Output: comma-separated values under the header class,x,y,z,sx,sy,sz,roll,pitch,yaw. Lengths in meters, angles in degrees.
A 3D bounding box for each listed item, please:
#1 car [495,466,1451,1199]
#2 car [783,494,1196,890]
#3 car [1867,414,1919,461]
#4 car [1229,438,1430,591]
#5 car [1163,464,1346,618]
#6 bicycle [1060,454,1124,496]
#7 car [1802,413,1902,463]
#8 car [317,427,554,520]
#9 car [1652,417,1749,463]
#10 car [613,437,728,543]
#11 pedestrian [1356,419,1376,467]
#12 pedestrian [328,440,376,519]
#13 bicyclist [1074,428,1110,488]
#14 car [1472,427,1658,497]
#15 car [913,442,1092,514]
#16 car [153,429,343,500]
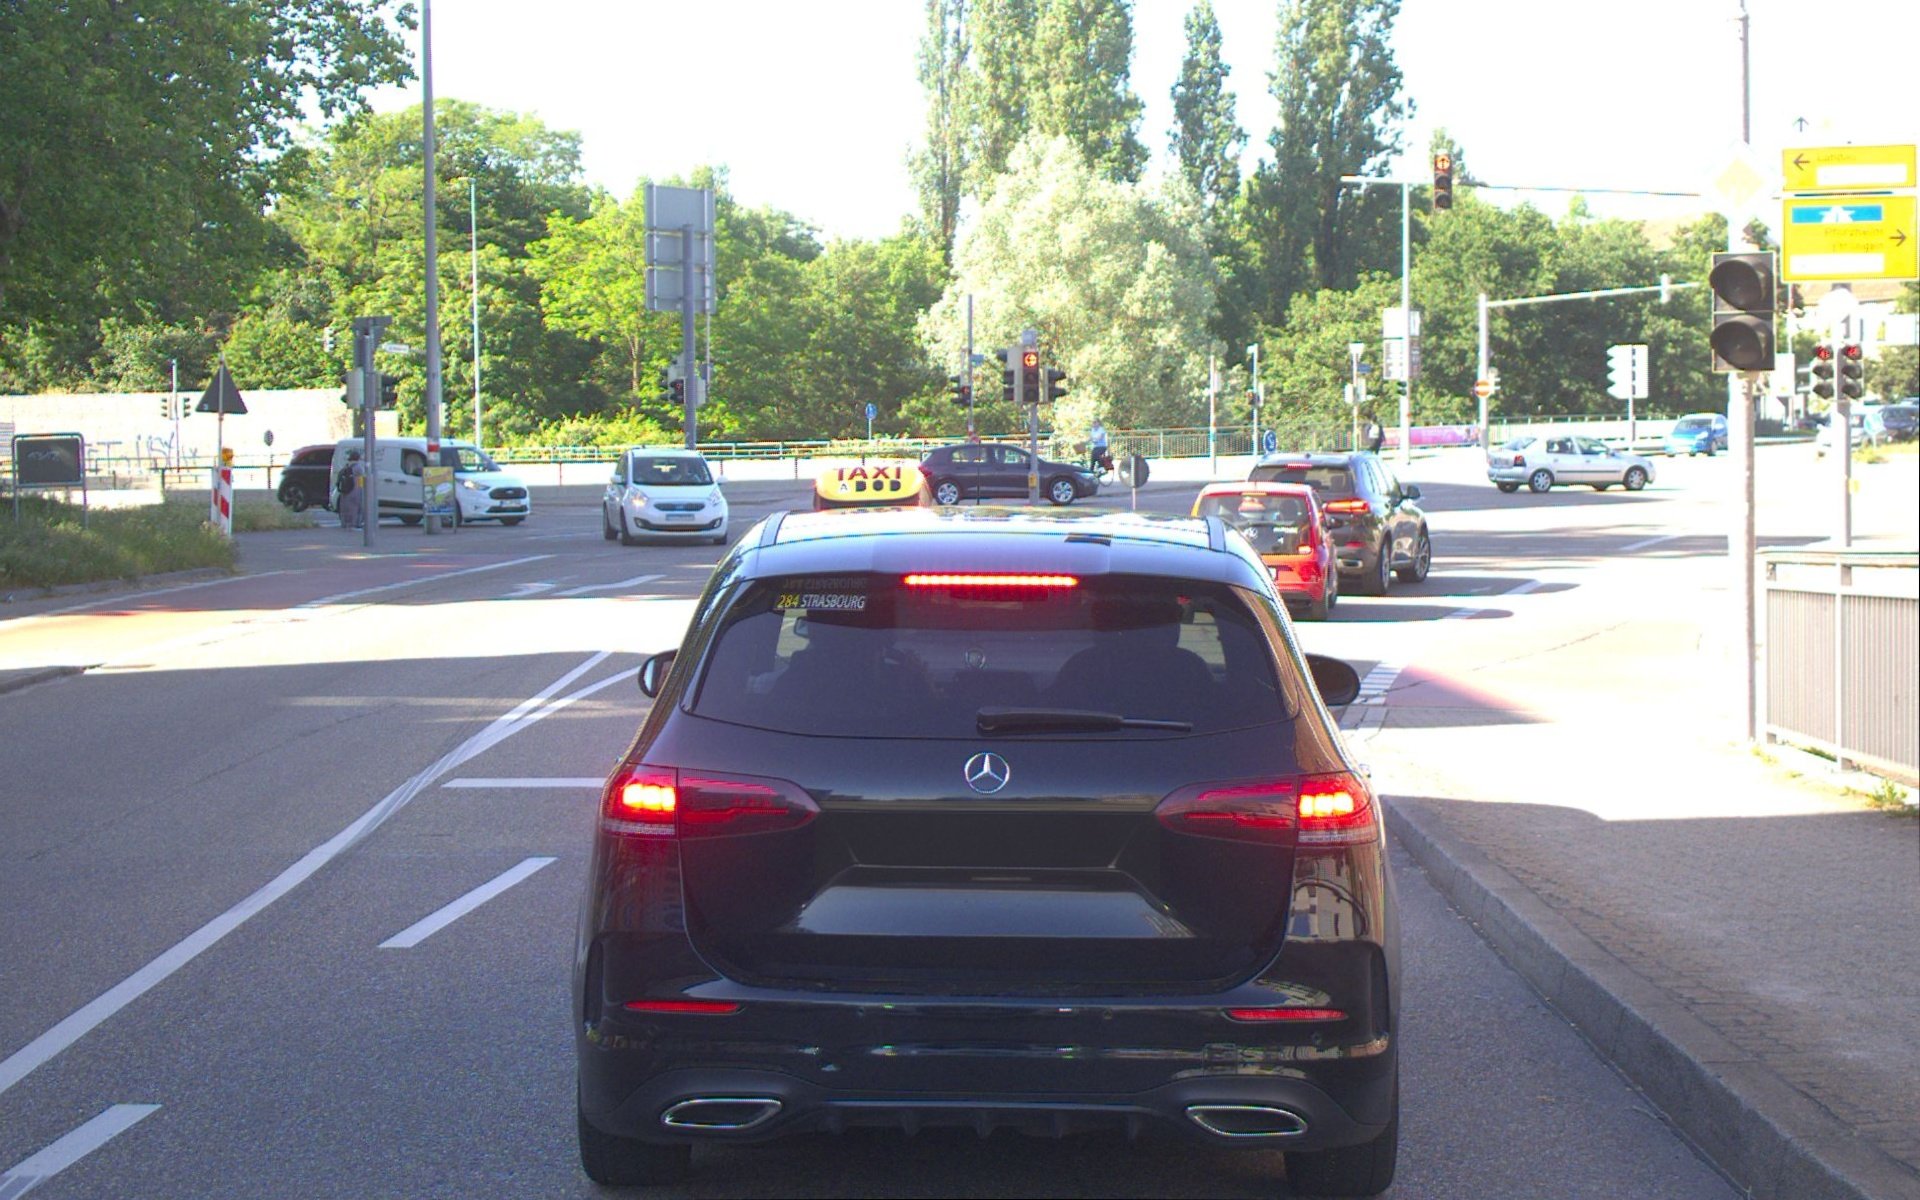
class,x,y,z,sx,sy,sz,roll,pitch,yaw
car,-0.009,0.492,8.822,1.877,1.607,4.001,1,2,-1
car,0.162,0.323,15.677,1.640,1.524,3.474,-1,3,1
car,32.970,-5.642,118.813,1.882,1.572,3.992,1,4,35
car,4.769,-1.100,43.923,1.723,1.806,4.294,-1,1,17
car,3.318,-0.701,38.250,1.722,1.516,3.485,0,4,10
bicycle,3.507,-3.309,91.099,0.527,1.046,1.985,0,3,42
car,29.505,-5.364,113.642,1.882,1.572,3.992,1,4,35
car,-10.669,-2.554,69.738,4.894,1.788,1.920,1,3,40
car,25.929,-5.608,120.309,1.882,1.572,3.992,1,4,35
car,-4.973,-1.916,58.721,1.777,1.629,4.002,-2,4,-7
pedestrian,13.667,-5.282,115.677,0.451,1.580,0.500,1,3,40
pedestrian,-11.805,-2.334,66.765,0.705,1.520,0.743,1,2,10
bicyclist,3.506,-3.762,91.068,0.527,1.545,0.805,0,3,42
car,14.532,-3.330,82.620,3.986,1.624,1.892,-1,2,-20
car,0.957,-2.834,79.701,3.986,1.624,1.891,-1,2,-4
car,-16.907,-3.229,81.764,3.988,1.624,1.890,0,2,9
